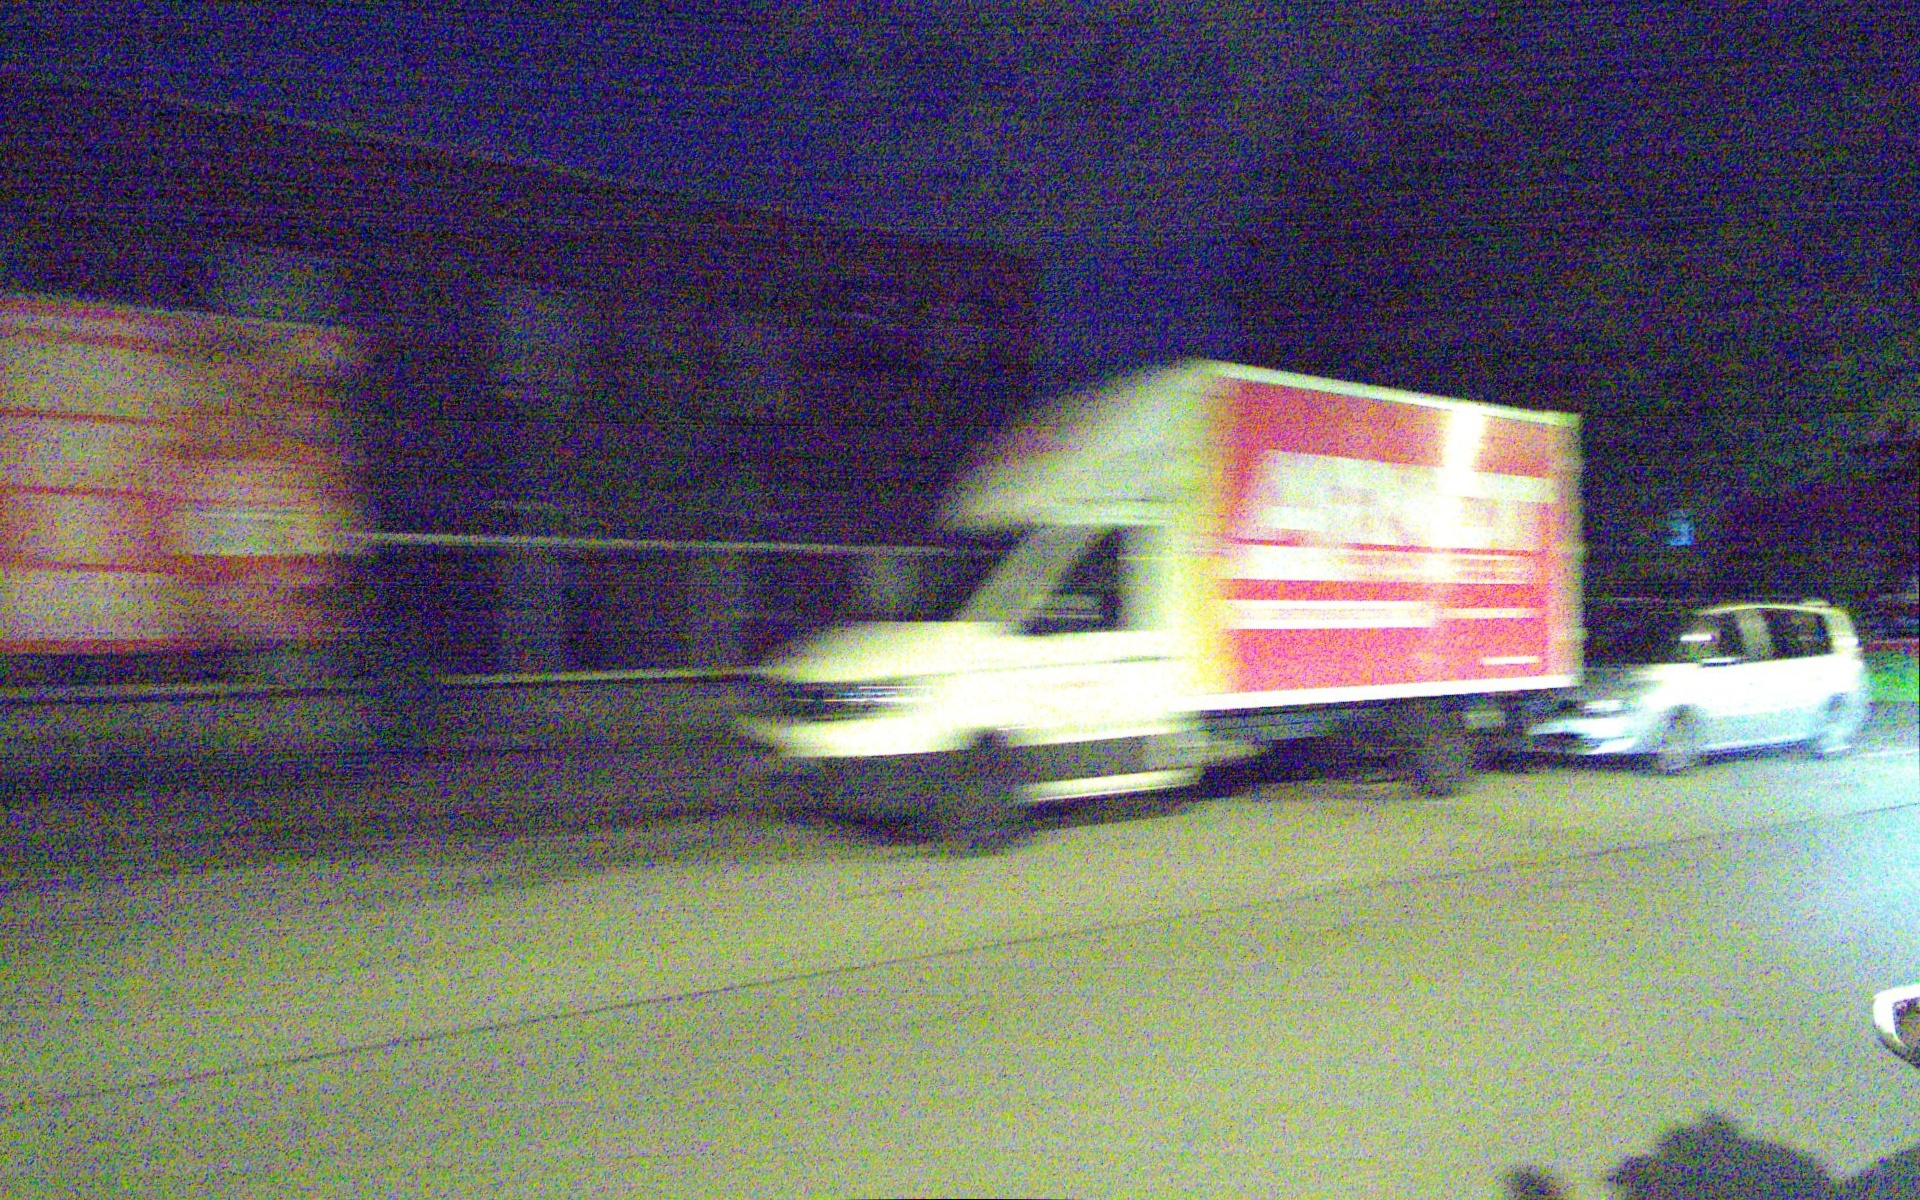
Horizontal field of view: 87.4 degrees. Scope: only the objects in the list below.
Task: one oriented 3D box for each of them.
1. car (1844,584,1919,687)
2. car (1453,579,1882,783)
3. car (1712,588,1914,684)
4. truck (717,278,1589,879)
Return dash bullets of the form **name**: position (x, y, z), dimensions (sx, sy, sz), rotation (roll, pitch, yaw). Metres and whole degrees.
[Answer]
- **car**: position (24.083, 0.861, 24.317), dimensions (4.893, 2.352, 1.990), rotation (1, -3, -22)
- **car**: position (7.781, 0.784, 10.970), dimensions (4.776, 1.840, 1.823), rotation (1, -1, -27)
- **car**: position (22.550, 0.936, 26.585), dimensions (4.556, 2.352, 2.204), rotation (1, -1, -22)
- **truck**: position (1.882, -0.058, 8.403), dimensions (7.221, 3.324, 2.533), rotation (1, -1, -28)
